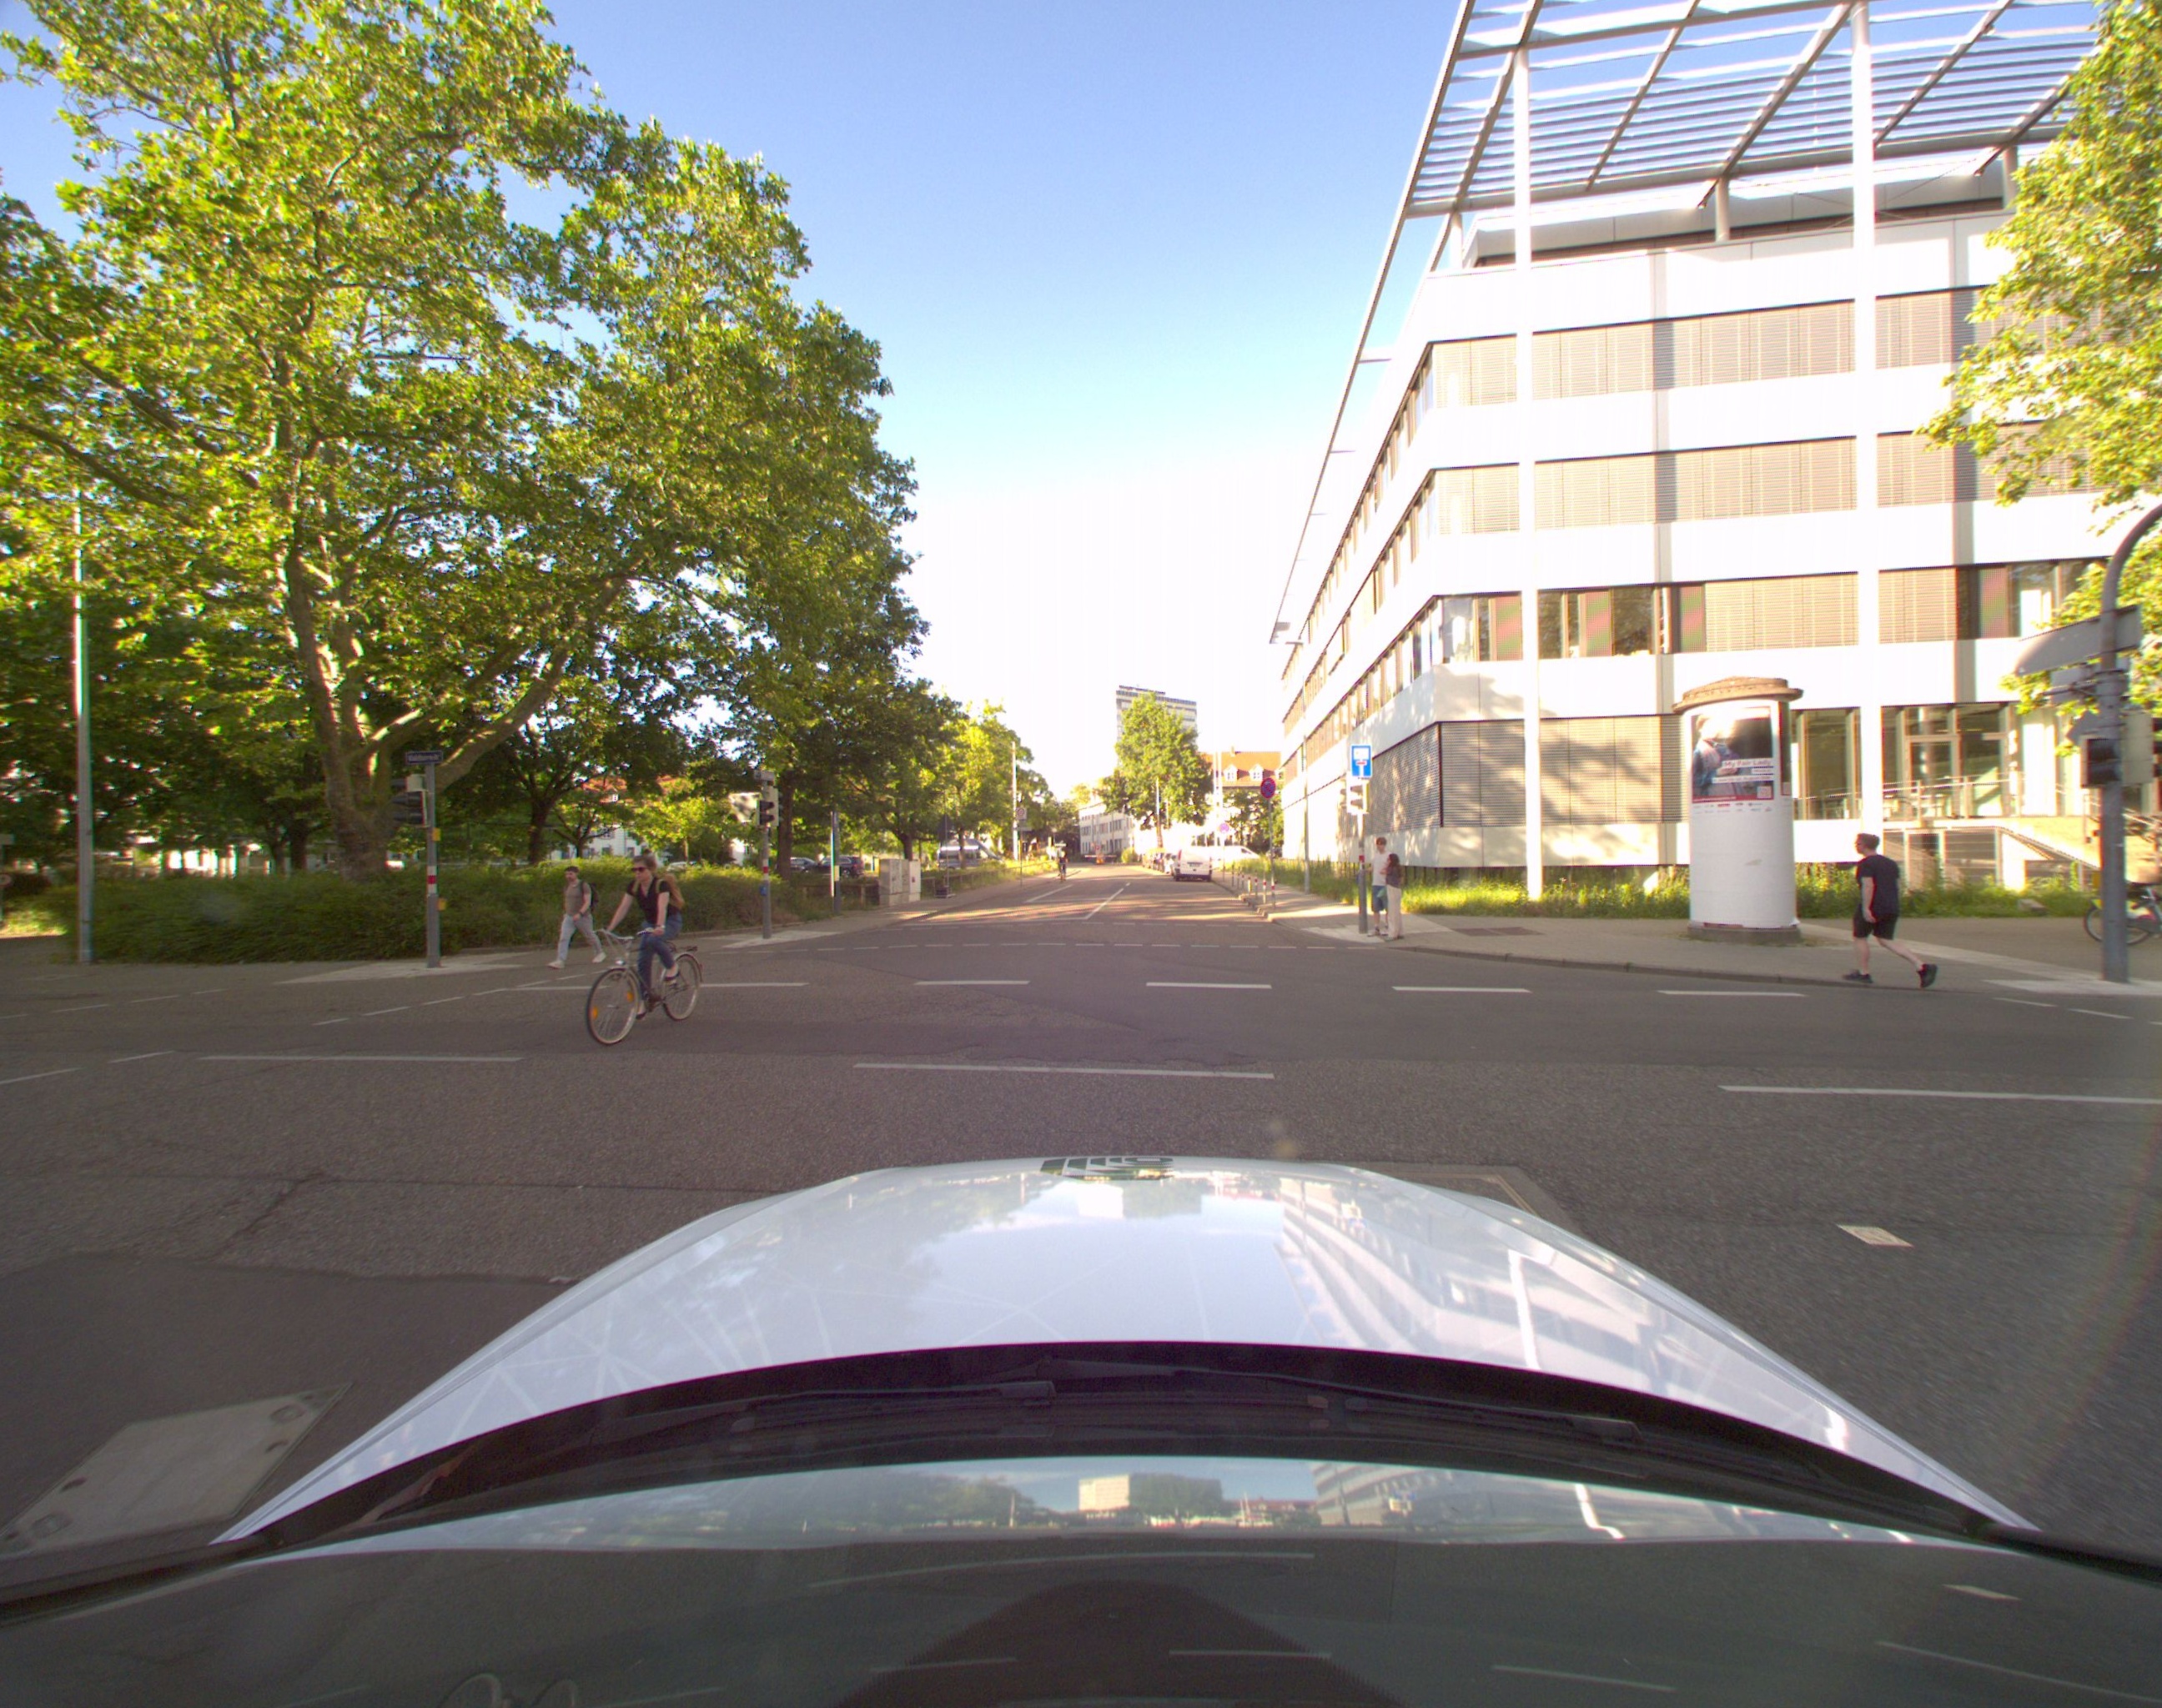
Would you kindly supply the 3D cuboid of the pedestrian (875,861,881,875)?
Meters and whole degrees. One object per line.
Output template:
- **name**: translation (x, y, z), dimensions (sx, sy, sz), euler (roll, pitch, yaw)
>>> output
- **pedestrian**: translation (-19.449, 1.326, 78.081), dimensions (0.558, 1.323, 0.575), euler (-1, 0, -12)

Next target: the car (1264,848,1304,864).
- **car**: translation (20.073, 0.220, 80.698), dimensions (3.548, 1.546, 1.556), euler (-1, 0, -4)

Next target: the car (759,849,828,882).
- **car**: translation (-22.348, 0.911, 63.406), dimensions (4.532, 2.391, 2.078), euler (-2, -1, 6)

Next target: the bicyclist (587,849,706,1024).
- **bicyclist**: translation (-4.050, 0.731, 7.660), dimensions (0.614, 1.532, 0.902), euler (-1, 0, -2)

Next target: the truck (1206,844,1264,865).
- **truck**: translation (15.251, 0.020, 80.706), dimensions (5.328, 2.014, 1.997), euler (-1, 0, -5)

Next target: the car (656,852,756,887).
- **car**: translation (-20.605, 0.839, 44.845), dimensions (4.532, 1.730, 2.078), euler (-2, -1, 6)

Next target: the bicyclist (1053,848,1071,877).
- **bicyclist**: translation (-1.044, 0.460, 45.010), dimensions (0.862, 1.515, 1.020), euler (-3, -1, 4)

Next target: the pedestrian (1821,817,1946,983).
- **pedestrian**: translation (9.340, 0.507, 9.516), dimensions (0.701, 1.840, 0.840), euler (1, 0, 14)

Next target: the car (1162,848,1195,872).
- **car**: translation (6.815, 0.389, 57.226), dimensions (1.881, 1.555, 4.417), euler (-1, 1, 2)

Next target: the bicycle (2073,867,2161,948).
- **bicycle**: translation (15.103, 0.753, 11.264), dimensions (0.508, 1.049, 1.676), euler (-3, 3, -20)

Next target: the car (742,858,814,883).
- **car**: translation (-22.632, 1.228, 61.006), dimensions (4.532, 1.730, 2.078), euler (-2, -1, 6)

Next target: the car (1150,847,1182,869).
- **car**: translation (6.726, 0.301, 64.764), dimensions (1.884, 1.655, 4.410), euler (-1, 1, -4)

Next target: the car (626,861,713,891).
- **car**: translation (-26.635, 1.419, 52.766), dimensions (4.532, 1.730, 2.078), euler (-2, -1, 6)

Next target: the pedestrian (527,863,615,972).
- **pedestrian**: translation (-8.426, 1.029, 13.484), dimensions (0.697, 1.723, 0.959), euler (-2, -1, 18)

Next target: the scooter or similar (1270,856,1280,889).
- **scooter or similar**: translation (8.648, 0.822, 36.281), dimensions (0.328, 1.424, 1.338), euler (1, 0, 9)

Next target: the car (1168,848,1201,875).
- **car**: translation (6.545, 0.439, 51.731), dimensions (1.879, 1.555, 4.422), euler (0, 1, 5)

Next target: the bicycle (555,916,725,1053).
- **bicycle**: translation (-4.044, 1.148, 7.649), dimensions (0.614, 0.970, 1.840), euler (-1, 0, -2)

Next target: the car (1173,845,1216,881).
- **car**: translation (6.004, 0.422, 43.454), dimensions (2.075, 1.795, 4.422), euler (0, 1, 5)

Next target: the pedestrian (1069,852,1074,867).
- **pedestrian**: translation (-1.078, 0.664, 96.955), dimensions (0.544, 1.677, 0.475), euler (-1, 0, -2)

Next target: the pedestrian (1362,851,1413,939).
- **pedestrian**: translation (5.604, 0.727, 14.914), dimensions (0.558, 1.540, 0.676), euler (-4, 0, -4)

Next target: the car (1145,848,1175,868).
- **car**: translation (6.686, 0.319, 69.635), dimensions (1.884, 1.655, 4.410), euler (-1, 1, -4)

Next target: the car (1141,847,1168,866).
- **car**: translation (6.758, 0.237, 75.056), dimensions (1.884, 1.655, 4.410), euler (-1, 1, -4)

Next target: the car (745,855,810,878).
- **car**: translation (-25.181, 1.043, 67.651), dimensions (4.532, 1.730, 2.078), euler (-2, -1, 6)

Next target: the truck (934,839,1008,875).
- **truck**: translation (-7.735, 0.203, 57.667), dimensions (4.805, 2.399, 2.090), euler (-1, 0, 5)

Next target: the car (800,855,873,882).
- **car**: translation (-17.620, 1.027, 58.901), dimensions (4.532, 1.730, 2.078), euler (-2, -1, 6)

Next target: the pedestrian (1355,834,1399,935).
- **pedestrian**: translation (5.652, 0.567, 15.530), dimensions (0.554, 1.851, 0.681), euler (-4, 0, 31)

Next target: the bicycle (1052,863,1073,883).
- **bicycle**: translation (-1.021, 1.027, 44.987), dimensions (0.862, 1.009, 2.417), euler (-4, -1, 4)
